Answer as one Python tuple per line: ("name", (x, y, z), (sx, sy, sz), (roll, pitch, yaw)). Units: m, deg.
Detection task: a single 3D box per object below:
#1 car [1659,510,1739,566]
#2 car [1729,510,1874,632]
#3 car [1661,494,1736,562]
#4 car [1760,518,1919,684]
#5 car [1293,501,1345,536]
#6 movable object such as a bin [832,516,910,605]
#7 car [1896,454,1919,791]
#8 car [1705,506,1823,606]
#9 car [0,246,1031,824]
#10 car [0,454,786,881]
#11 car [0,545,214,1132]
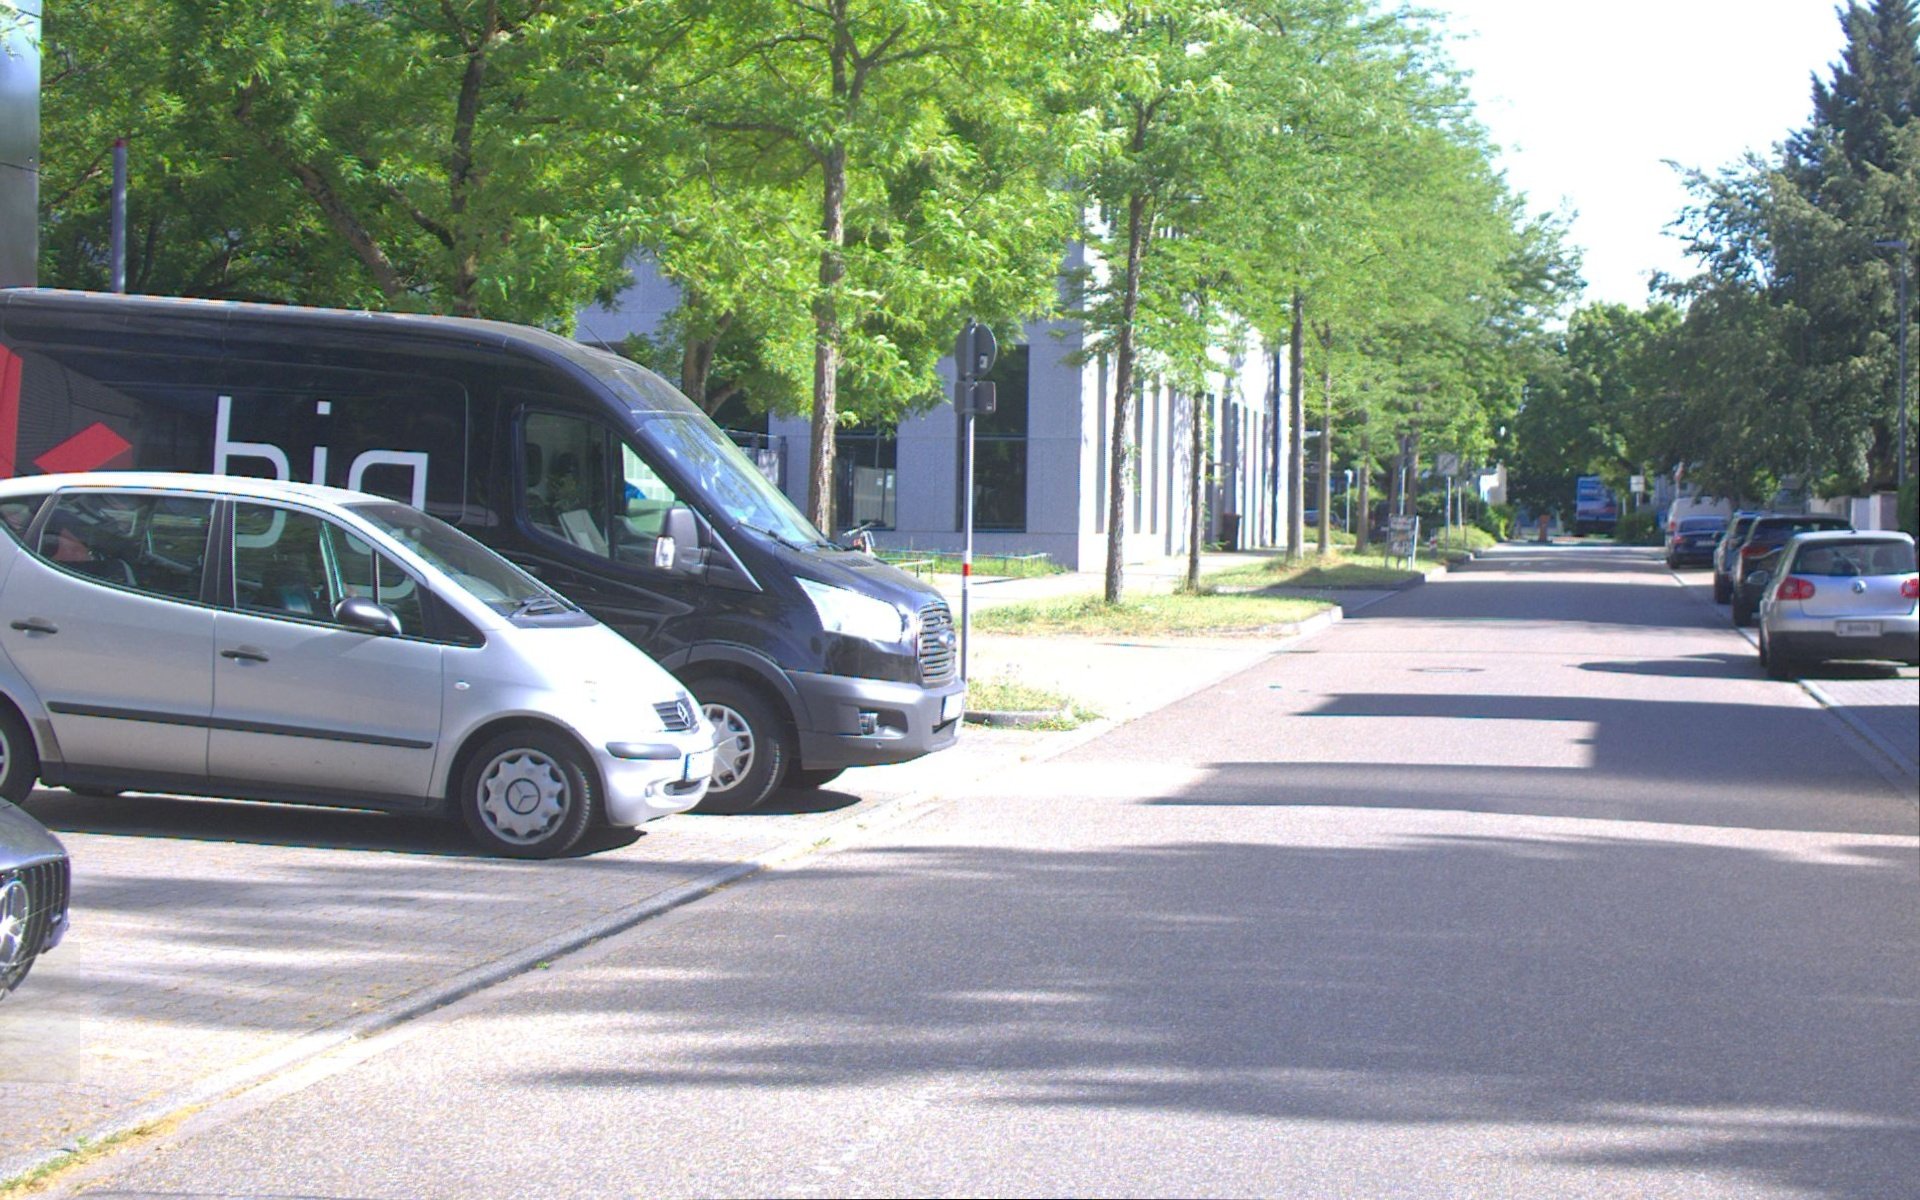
("car", (19.916, -1.676, 92.735), (1.994, 1.437, 3.998), (2, 1, 11))
("car", (12.139, -0.459, 49.778), (1.839, 1.628, 4.199), (2, 2, 12))
("car", (21.140, -2.079, 98.503), (1.994, 1.828, 3.998), (-2, 1, 11))
("car", (9.168, -0.034, 35.390), (1.660, 1.556, 3.933), (2, 2, 11))
("car", (14.285, -3.254, 136.854), (1.906, 1.337, 3.792), (1, 2, 8))
("movable object such as a bin", (-1.219, -0.559, 47.544), (0.663, 1.177, 1.935), (1, 2, 11))
("car", (6.545, 0.152, 19.556), (1.944, 2.015, 4.823), (0, 1, 10))
("car", (14.066, -0.801, 60.308), (1.856, 1.642, 3.998), (1, 2, 11))
("car", (-2.564, -0.398, 18.560), (5.457, 2.613, 2.231), (4, 2, 10))
("car", (-2.927, 0.243, 15.990), (3.833, 1.639, 1.891), (4, 2, 9))
("car", (-4.424, 0.432, 8.664), (4.537, 1.346, 1.891), (4, 2, 10))
